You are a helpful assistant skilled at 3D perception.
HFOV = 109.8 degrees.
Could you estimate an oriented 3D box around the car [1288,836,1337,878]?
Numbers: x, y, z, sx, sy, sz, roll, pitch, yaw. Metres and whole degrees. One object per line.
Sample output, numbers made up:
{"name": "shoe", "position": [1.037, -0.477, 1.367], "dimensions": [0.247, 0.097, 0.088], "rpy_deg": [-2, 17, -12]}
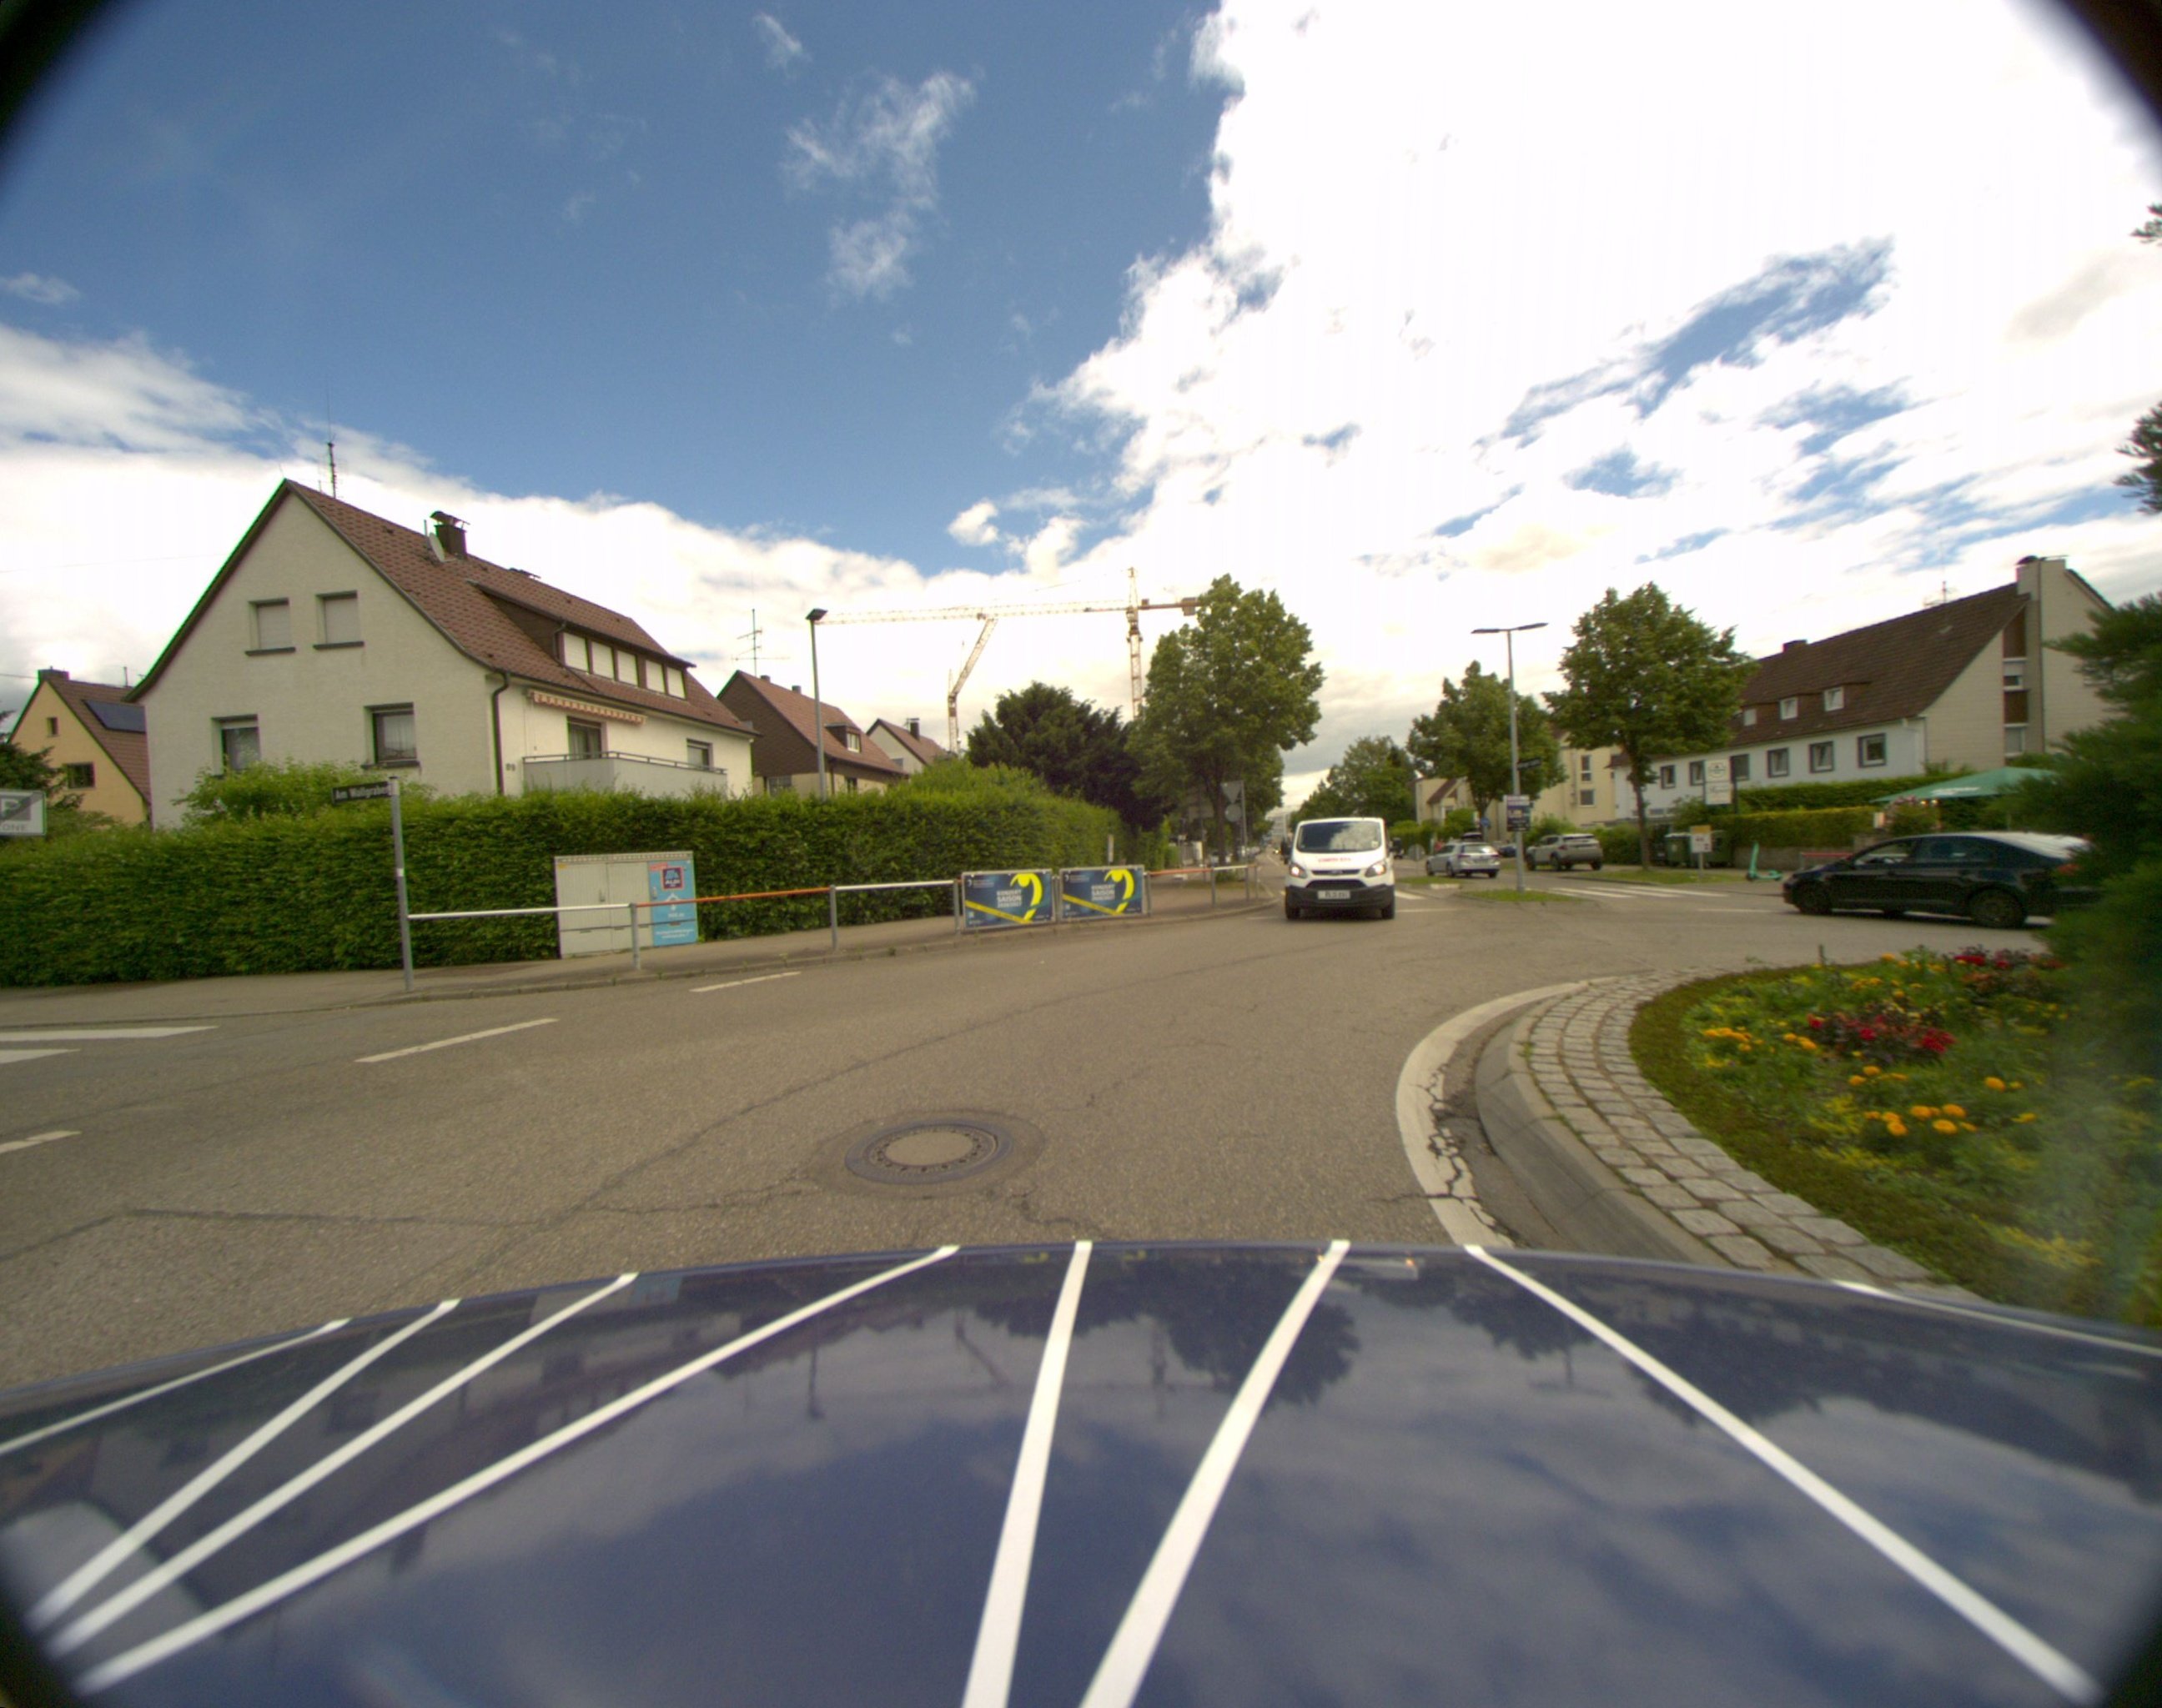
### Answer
{"name": "car", "position": [10.703, 0.103, 35.379], "dimensions": [1.924, 1.744, 4.004], "rpy_deg": [-2, 0, 15]}

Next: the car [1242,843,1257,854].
{"name": "car", "position": [21.506, -0.727, 96.828], "dimensions": [1.809, 1.334, 4.004], "rpy_deg": [-2, 0, 14]}

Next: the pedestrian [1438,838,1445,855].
{"name": "pedestrian", "position": [28.882, -0.620, 60.800], "dimensions": [0.386, 1.357, 0.413], "rpy_deg": [-2, 1, 14]}

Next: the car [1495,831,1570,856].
{"name": "car", "position": [31.426, -0.736, 52.979], "dimensions": [4.042, 1.530, 1.753], "rpy_deg": [-3, 0, 6]}

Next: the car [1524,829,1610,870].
{"name": "car", "position": [21.511, -0.194, 33.818], "dimensions": [1.750, 1.626, 4.050], "rpy_deg": [-2, 0, 10]}

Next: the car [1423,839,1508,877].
{"name": "car", "position": [16.067, 0.150, 32.008], "dimensions": [1.804, 1.446, 4.695], "rpy_deg": [-1, 0, 9]}

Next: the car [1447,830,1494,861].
{"name": "car", "position": [24.815, -0.535, 48.564], "dimensions": [1.749, 1.819, 4.051], "rpy_deg": [-2, 0, 14]}

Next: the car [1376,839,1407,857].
{"name": "car", "position": [28.841, -0.567, 70.676], "dimensions": [1.759, 1.552, 3.749], "rpy_deg": [-2, 0, 9]}

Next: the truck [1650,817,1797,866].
{"name": "truck", "position": [27.436, -0.534, 32.587], "dimensions": [4.495, 1.839, 1.866], "rpy_deg": [-3, 0, 7]}

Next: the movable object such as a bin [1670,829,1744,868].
{"name": "movable object such as a bin", "position": [24.452, -0.210, 29.744], "dimensions": [0.983, 1.408, 2.724], "rpy_deg": [-2, 0, 10]}

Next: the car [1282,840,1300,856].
{"name": "car", "position": [23.421, -0.689, 84.794], "dimensions": [1.823, 1.658, 4.004], "rpy_deg": [-2, 0, 15]}

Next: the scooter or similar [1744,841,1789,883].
{"name": "scooter or similar", "position": [19.509, 0.222, 21.627], "dimensions": [1.048, 1.125, 0.381], "rpy_deg": [-2, 1, -10]}

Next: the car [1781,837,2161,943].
{"name": "car", "position": [13.811, 0.444, 12.006], "dimensions": [1.540, 1.367, 3.977], "rpy_deg": [-1, 1, -8]}

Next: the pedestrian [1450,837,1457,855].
{"name": "pedestrian", "position": [29.343, -0.638, 59.896], "dimensions": [0.386, 1.357, 0.413], "rpy_deg": [-2, 1, 14]}

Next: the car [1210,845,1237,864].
{"name": "car", "position": [11.412, 0.020, 60.618], "dimensions": [1.809, 1.334, 4.004], "rpy_deg": [-2, 0, 14]}

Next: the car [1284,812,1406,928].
{"name": "car", "position": [5.432, 0.271, 15.895], "dimensions": [1.996, 2.002, 5.056], "rpy_deg": [-2, 0, 18]}
